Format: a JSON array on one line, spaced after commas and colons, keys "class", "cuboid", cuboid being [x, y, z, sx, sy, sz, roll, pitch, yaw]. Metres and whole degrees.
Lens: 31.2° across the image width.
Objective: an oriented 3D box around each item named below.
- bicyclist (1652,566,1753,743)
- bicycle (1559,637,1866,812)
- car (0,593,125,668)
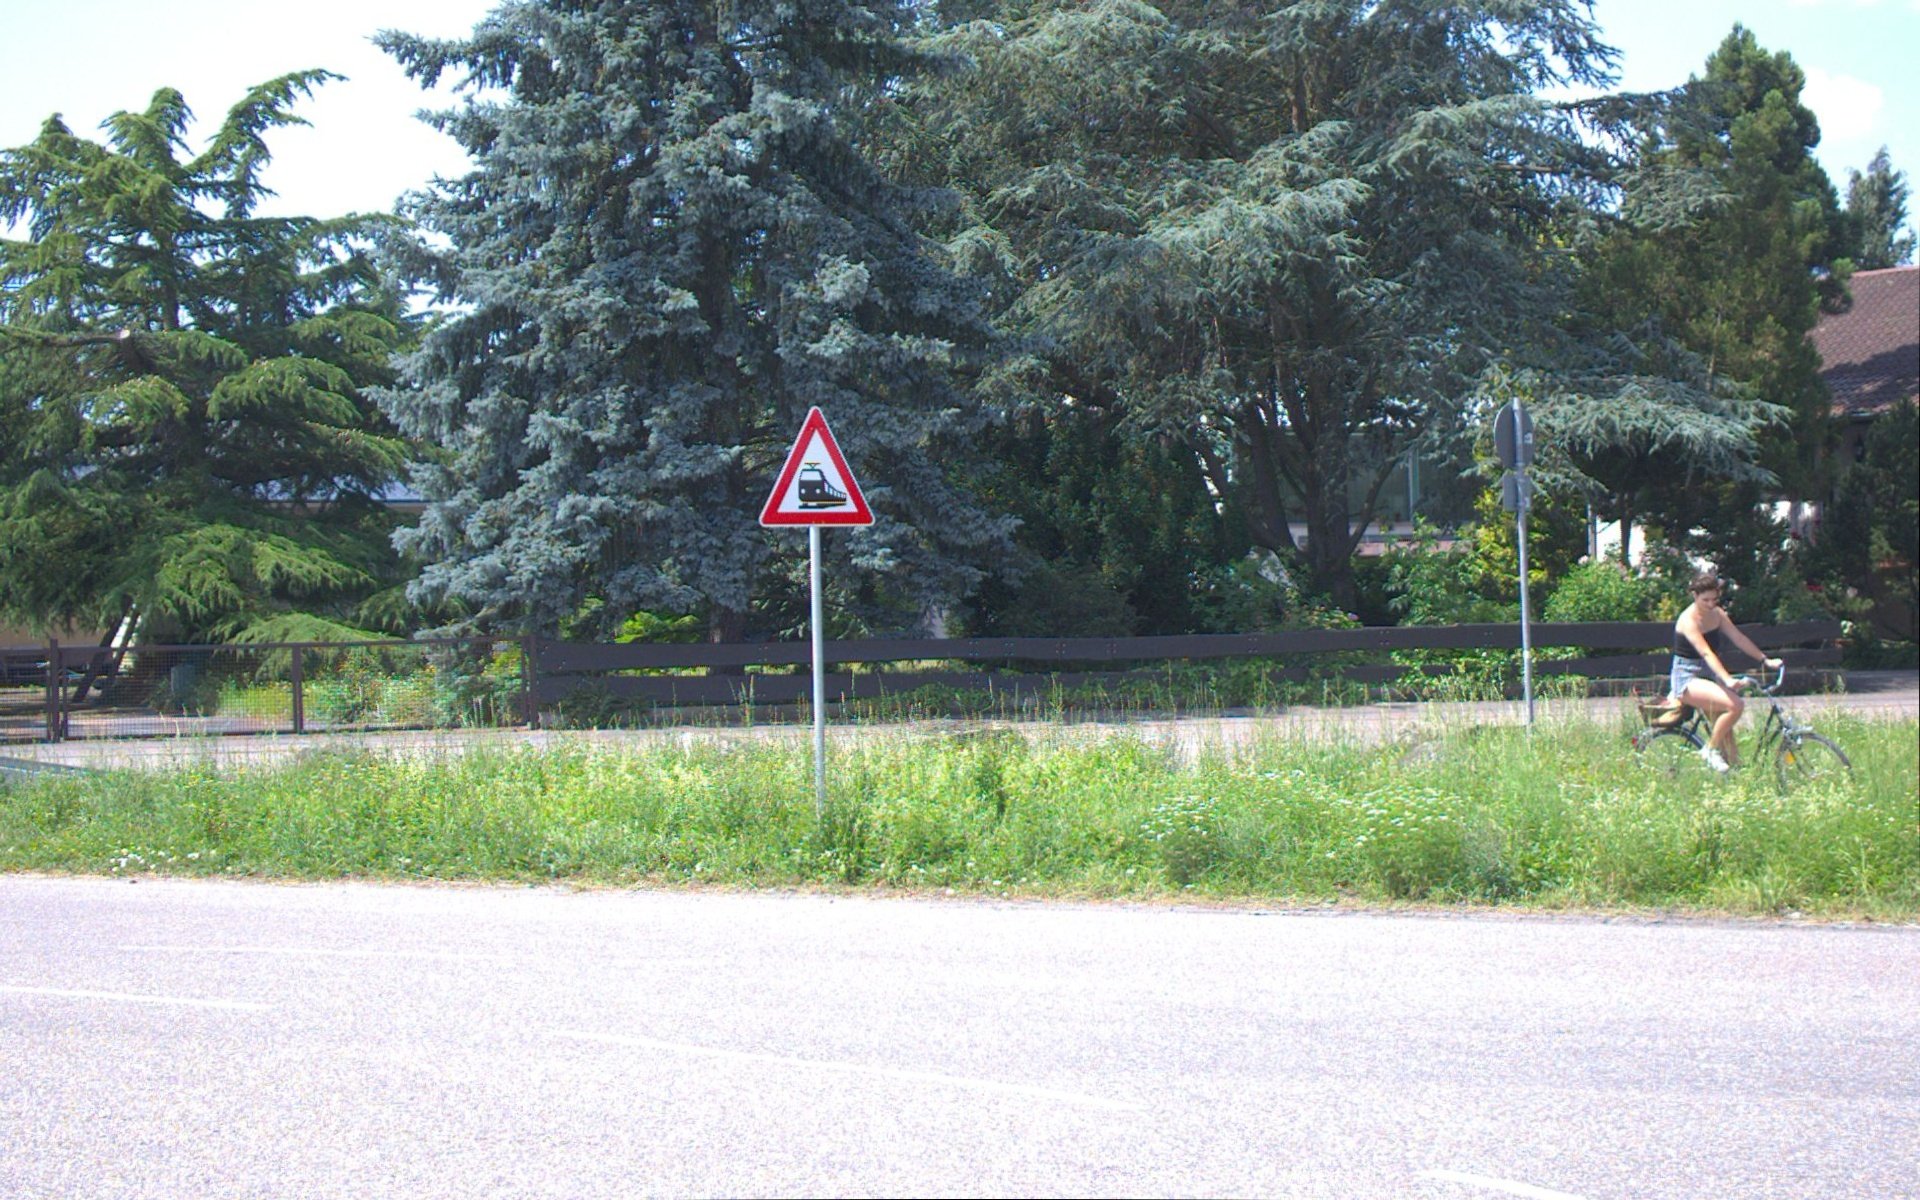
[{"class": "bicyclist", "cuboid": [5.326, 0.385, 24.656, 0.468, 1.251, 0.511, -1, 0, -42]}, {"class": "bicycle", "cuboid": [5.361, 0.865, 24.597, 0.659, 1.161, 2.145, -1, 1, -42]}, {"class": "car", "cuboid": [-20.385, 0.674, 75.819, 3.524, 1.580, 1.566, -1, 1, -28]}]
